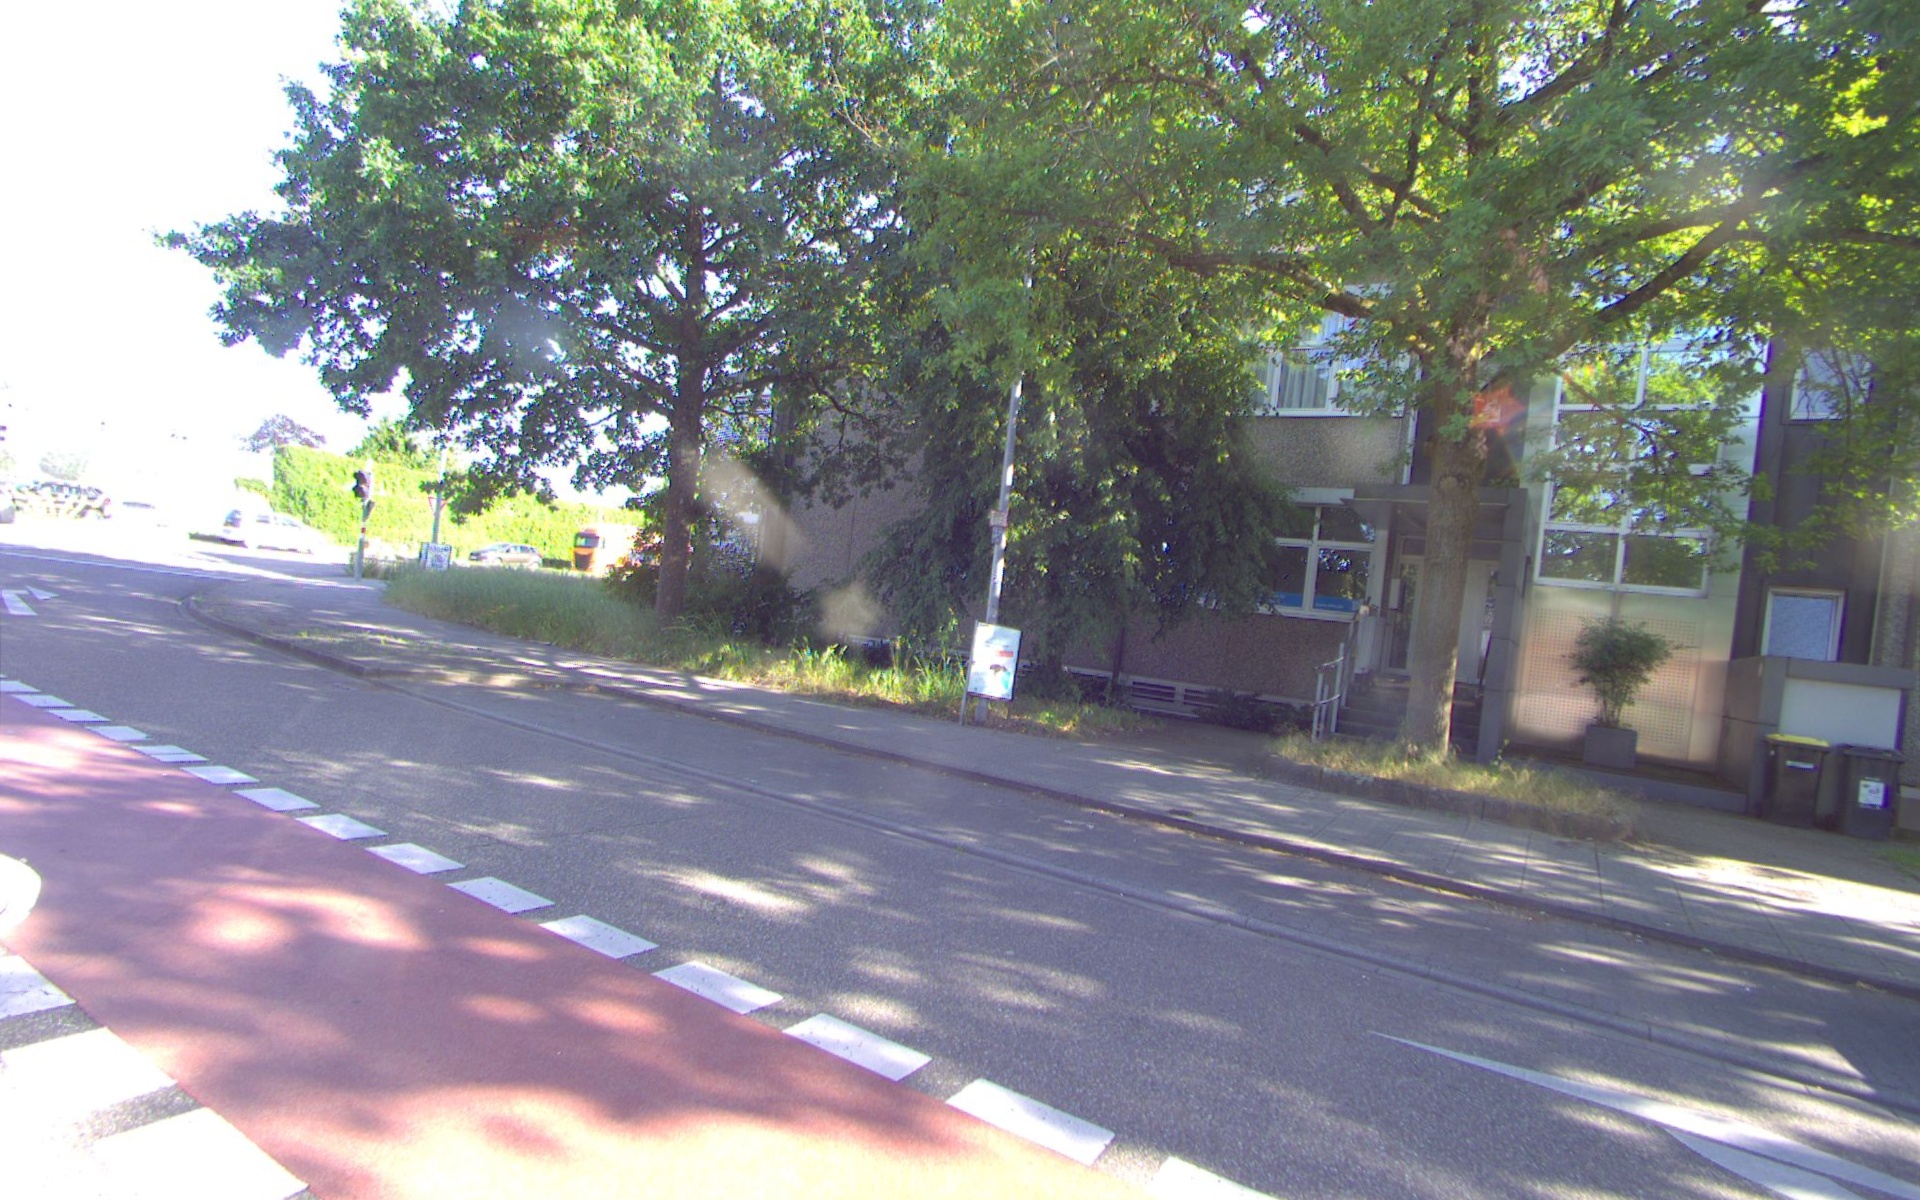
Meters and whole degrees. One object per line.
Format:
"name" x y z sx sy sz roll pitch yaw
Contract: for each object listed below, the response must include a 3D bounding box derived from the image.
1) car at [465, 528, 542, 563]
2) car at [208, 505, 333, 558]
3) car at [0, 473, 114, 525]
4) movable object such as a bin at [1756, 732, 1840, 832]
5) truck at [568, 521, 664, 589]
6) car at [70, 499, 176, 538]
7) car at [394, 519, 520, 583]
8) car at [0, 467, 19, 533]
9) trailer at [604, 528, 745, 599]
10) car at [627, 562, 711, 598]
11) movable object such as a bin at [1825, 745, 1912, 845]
"car" -27.110 -3.223 59.830 1.538 1.458 3.999 6 -2 26
"car" -27.019 -2.652 39.536 1.565 1.503 3.680 6 -1 25
"car" -34.015 -3.770 36.926 1.548 1.317 4.170 6 -2 28
"movable object such as a bin" 10.069 2.172 12.112 0.571 1.045 0.713 7 0 31
"truck" -24.732 -3.151 72.628 2.429 4.047 6.415 7 0 25
"car" -39.952 -3.867 48.079 1.330 1.280 3.590 7 -1 30
"car" -14.068 -1.326 28.343 1.433 1.311 3.412 7 -2 7
"car" -28.550 -3.016 27.256 1.432 1.823 4.120 6 -1 27
"trailer" -21.933 -2.687 78.599 2.426 4.079 12.768 7 -1 25
"car" -15.815 -1.056 54.943 1.653 1.458 4.470 7 0 28
"movable object such as a bin" 10.651 2.268 11.816 0.566 1.019 0.629 6 -1 31
